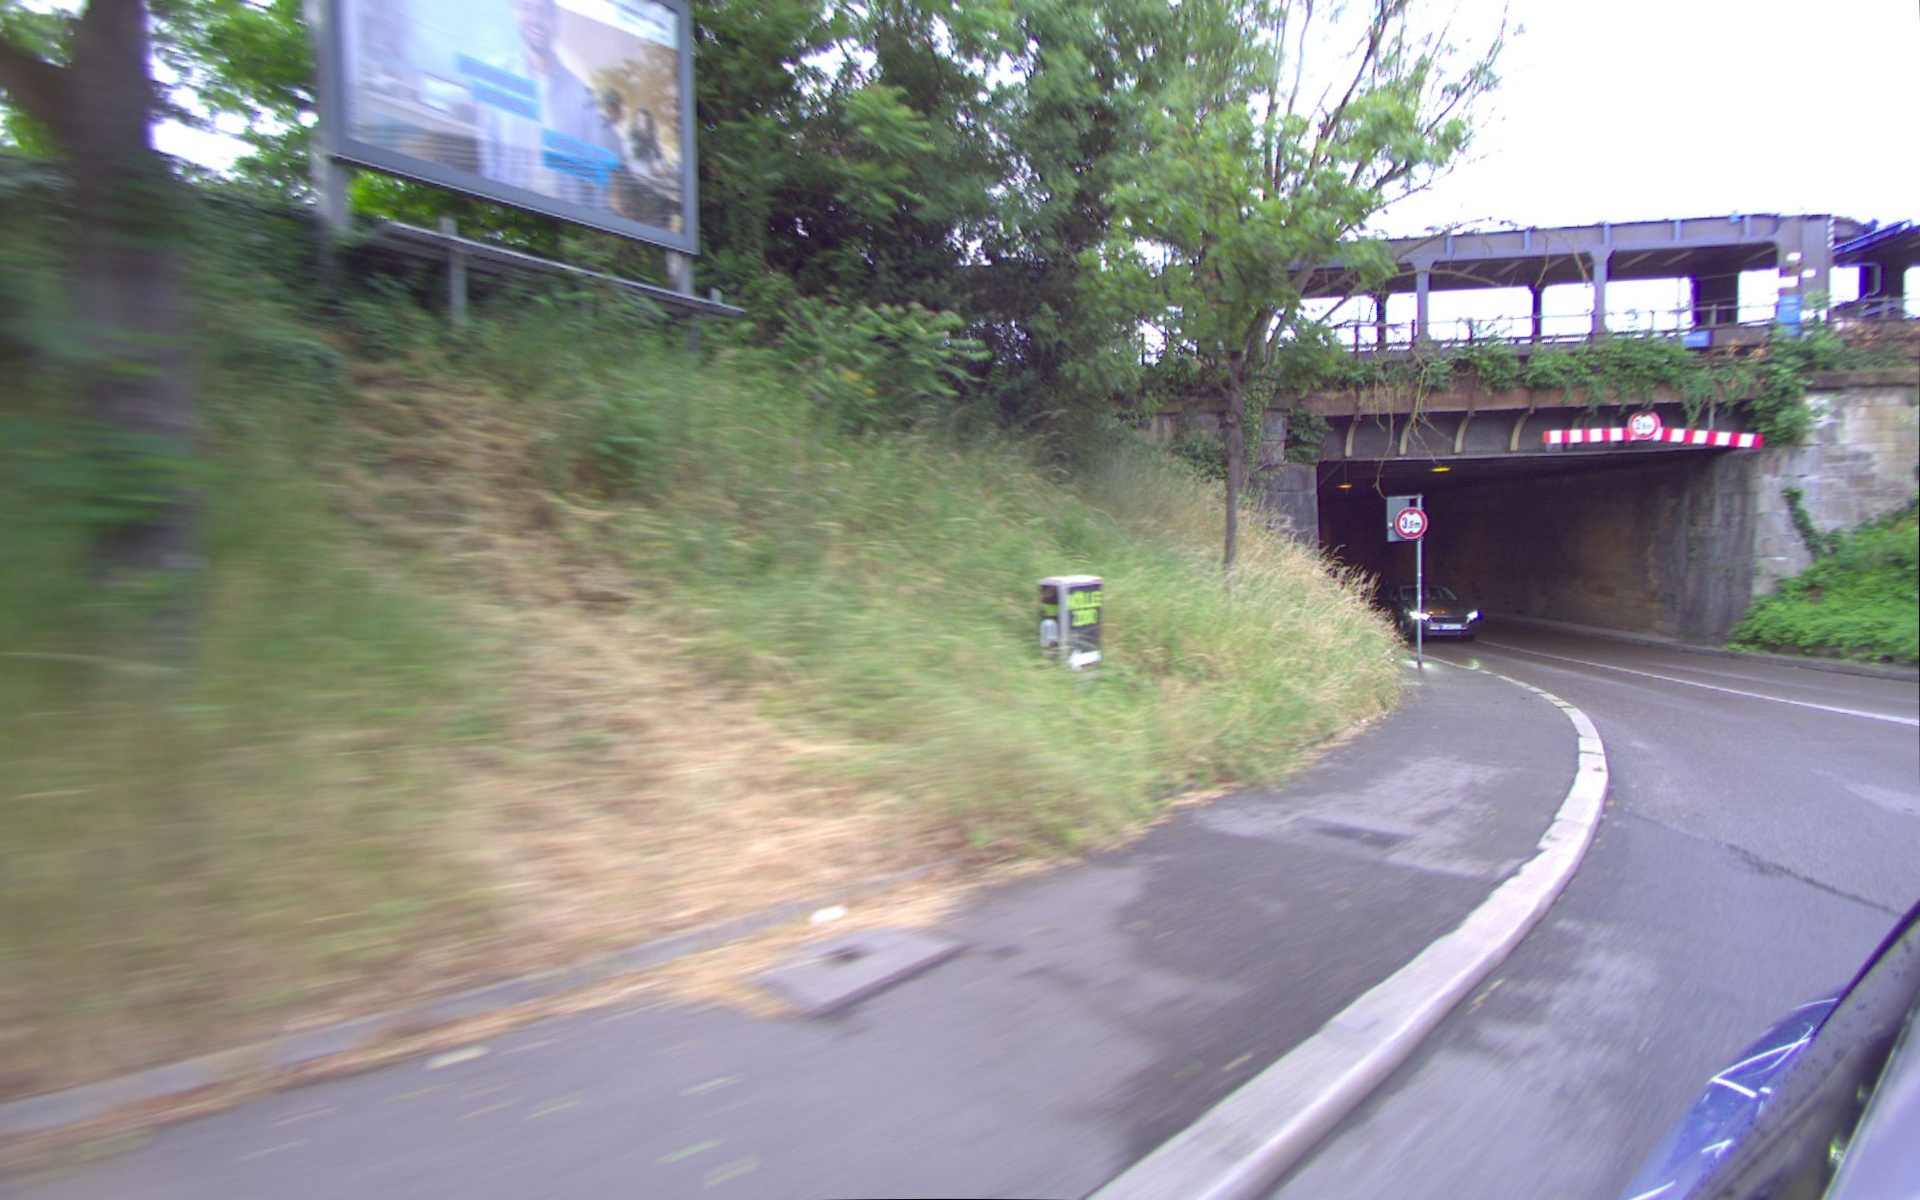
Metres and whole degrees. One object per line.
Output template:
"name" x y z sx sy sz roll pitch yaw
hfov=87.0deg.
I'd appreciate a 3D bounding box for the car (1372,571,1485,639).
"car" 12.248 0.048 26.712 1.784 1.536 4.040 1 3 12
